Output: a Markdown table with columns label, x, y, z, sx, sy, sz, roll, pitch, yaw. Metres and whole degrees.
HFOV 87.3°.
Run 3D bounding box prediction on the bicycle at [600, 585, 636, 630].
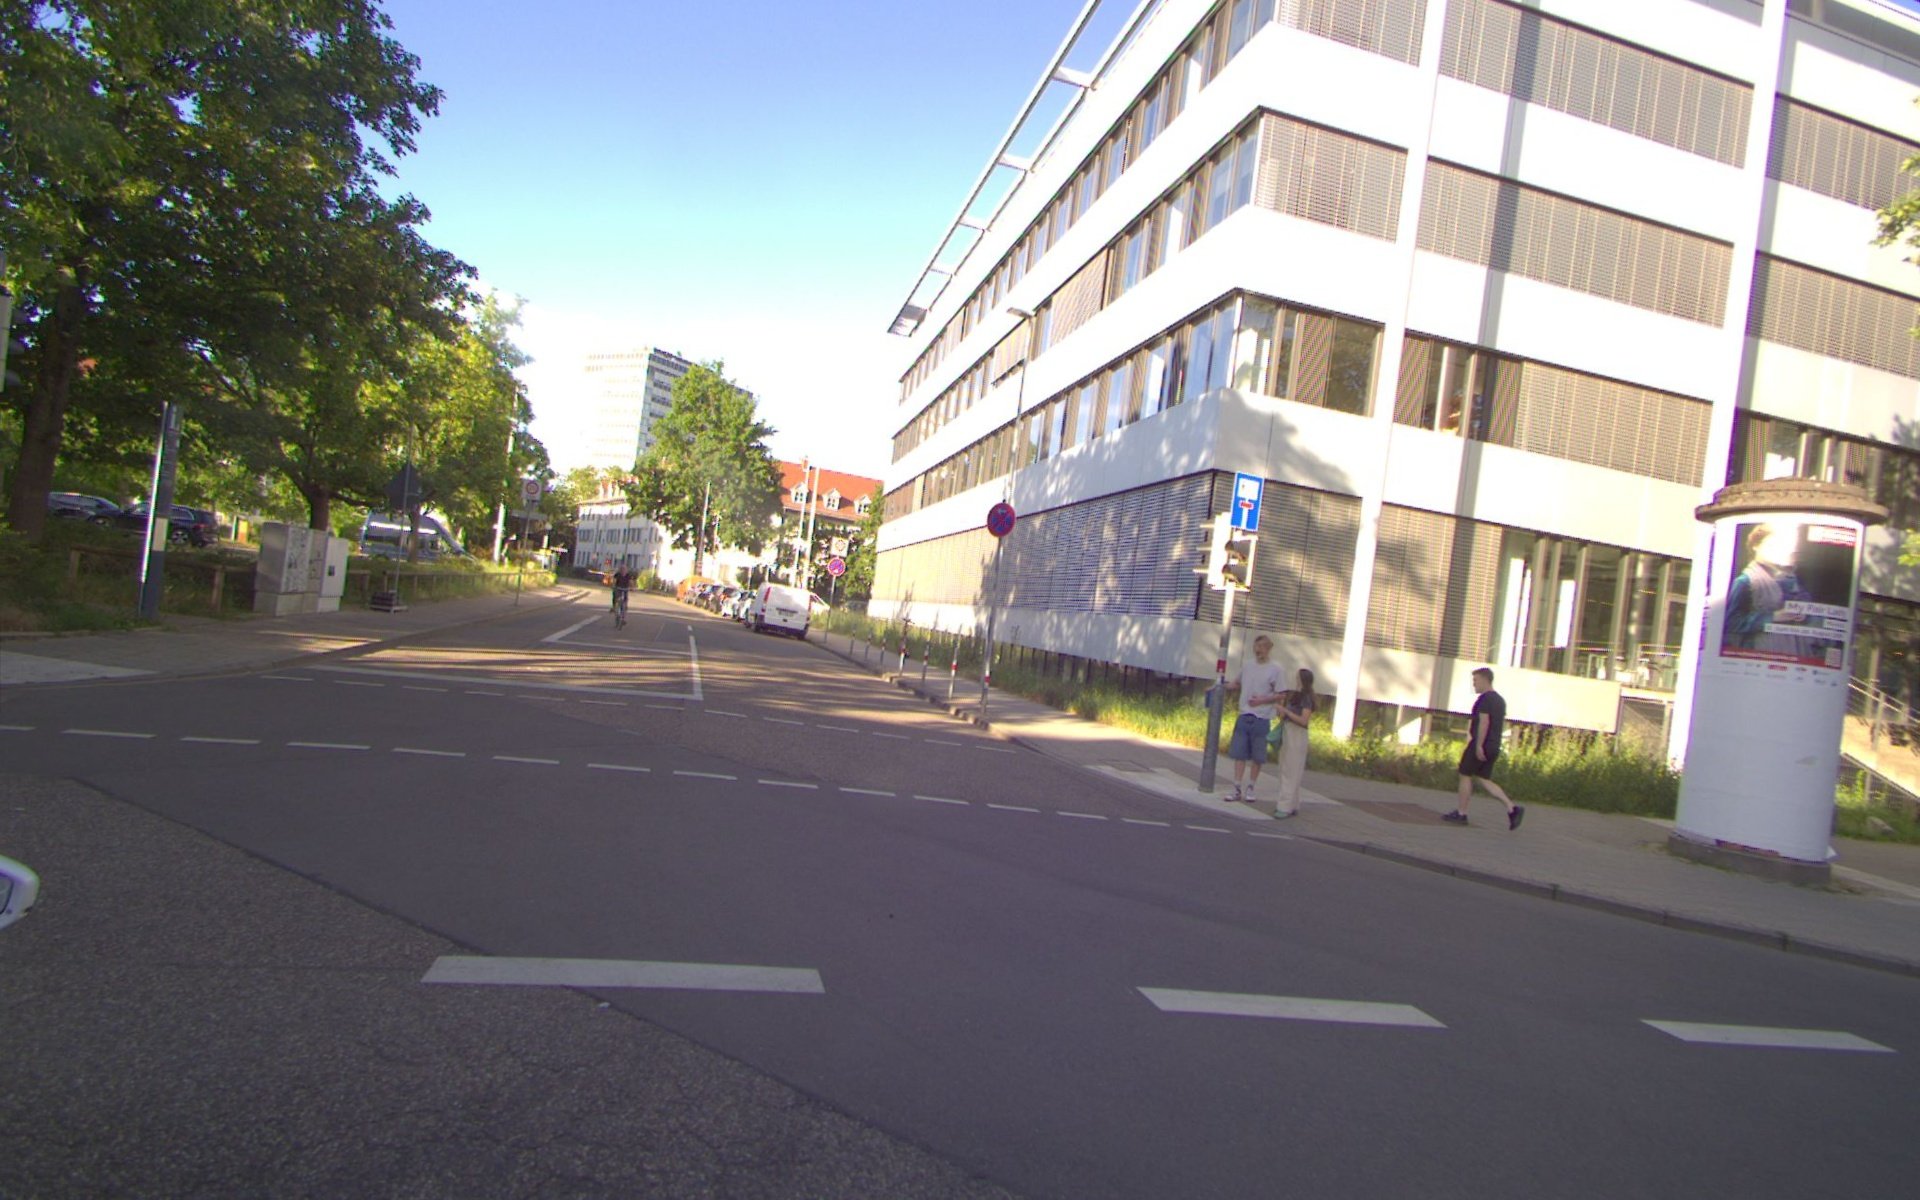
| label | x | y | z | sx | sy | sz | roll | pitch | yaw |
| --- | --- | --- | --- | --- | --- | --- | --- | --- | --- |
| bicycle | -9.074 | 0.188 | 26.672 | 0.709 | 1.029 | 2.014 | 6 | 0 | -22 |

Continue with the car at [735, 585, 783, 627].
| label | x | y | z | sx | sy | sz | roll | pitch | yaw |
| --- | --- | --- | --- | --- | --- | --- | --- | --- | --- |
| car | -8.697 | 0.234 | 43.395 | 1.605 | 1.503 | 3.838 | 8 | -1 | -16 |

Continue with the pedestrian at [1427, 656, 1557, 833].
| label | x | y | z | sx | sy | sz | roll | pitch | yaw |
| --- | --- | --- | --- | --- | --- | --- | --- | --- | --- |
| pedestrian | 6.013 | 1.608 | 11.391 | 0.983 | 1.793 | 0.602 | 7 | 0 | 45 |

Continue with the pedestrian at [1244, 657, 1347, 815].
| label | x | y | z | sx | sy | sz | roll | pitch | yaw |
| --- | --- | --- | --- | --- | --- | --- | --- | --- | --- |
| pedestrian | 3.542 | 1.427 | 10.644 | 0.554 | 1.542 | 0.669 | 7 | 0 | -25 |

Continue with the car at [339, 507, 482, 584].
| label | x | y | z | sx | sy | sz | roll | pitch | yaw |
| --- | --- | --- | --- | --- | --- | --- | --- | --- | --- |
| car | -24.597 | -2.391 | 45.250 | 5.081 | 2.603 | 1.993 | 8 | 0 | -16 |

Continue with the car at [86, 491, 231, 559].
| label | x | y | z | sx | sy | sz | roll | pitch | yaw |
| --- | --- | --- | --- | --- | --- | --- | --- | --- | --- |
| car | -33.972 | -3.136 | 42.767 | 4.246 | 2.113 | 1.782 | 8 | -1 | -15 |

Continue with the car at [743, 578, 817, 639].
| label | x | y | z | sx | sy | sz | roll | pitch | yaw |
| --- | --- | --- | --- | --- | --- | --- | --- | --- | --- |
| car | -6.766 | 0.262 | 37.408 | 2.077 | 1.850 | 4.704 | 8 | -1 | -16 |

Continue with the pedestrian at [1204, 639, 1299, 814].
| label | x | y | z | sx | sy | sz | roll | pitch | yaw |
| --- | --- | --- | --- | --- | --- | --- | --- | --- | --- |
| pedestrian | 3.295 | 1.422 | 11.401 | 0.563 | 1.861 | 0.599 | 7 | 0 | -29 |

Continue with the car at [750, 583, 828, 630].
| label | x | y | z | sx | sy | sz | roll | pitch | yaw |
| --- | --- | --- | --- | --- | --- | --- | --- | --- | --- |
| car | -12.703 | 0.516 | 74.730 | 5.062 | 2.651 | 1.985 | 9 | 1 | -28 |

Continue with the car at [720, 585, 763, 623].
| label | x | y | z | sx | sy | sz | roll | pitch | yaw |
| --- | --- | --- | --- | --- | --- | --- | --- | --- | --- |
| car | -10.415 | 0.168 | 47.811 | 1.605 | 1.503 | 3.838 | 8 | -1 | -16 |

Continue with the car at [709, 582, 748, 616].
| label | x | y | z | sx | sy | sz | roll | pitch | yaw |
| --- | --- | --- | --- | --- | --- | --- | --- | --- | --- |
| car | -12.058 | -0.088 | 52.278 | 1.605 | 1.503 | 3.838 | 8 | -1 | -16 |

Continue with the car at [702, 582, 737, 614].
| label | x | y | z | sx | sy | sz | roll | pitch | yaw |
| --- | --- | --- | --- | --- | --- | --- | --- | --- | --- |
| car | -13.681 | -0.132 | 57.106 | 1.605 | 1.503 | 3.838 | 8 | -1 | -16 |

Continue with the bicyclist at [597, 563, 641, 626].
| label | x | y | z | sx | sy | sz | roll | pitch | yaw |
| --- | --- | --- | --- | --- | --- | --- | --- | --- | --- |
| bicyclist | -9.060 | -0.152 | 26.697 | 0.866 | 1.554 | 1.082 | 8 | 0 | -22 |

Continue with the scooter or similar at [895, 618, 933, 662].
| label | x | y | z | sx | sy | sz | roll | pitch | yaw |
| --- | --- | --- | --- | --- | --- | --- | --- | --- | --- |
| scooter or similar | -1.441 | 1.234 | 31.419 | 0.689 | 1.194 | 1.552 | 7 | 0 | -17 |

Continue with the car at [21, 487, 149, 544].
| label | x | y | z | sx | sy | sz | roll | pitch | yaw |
| --- | --- | --- | --- | --- | --- | --- | --- | --- | --- |
| car | -42.083 | -4.029 | 48.488 | 3.984 | 1.969 | 1.919 | 8 | -2 | -15 |

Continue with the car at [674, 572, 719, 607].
| label | x | y | z | sx | sy | sz | roll | pitch | yaw |
| --- | --- | --- | --- | --- | --- | --- | --- | --- | --- |
| car | -17.684 | -0.753 | 67.261 | 2.063 | 1.809 | 4.883 | 7 | 1 | -23 |
